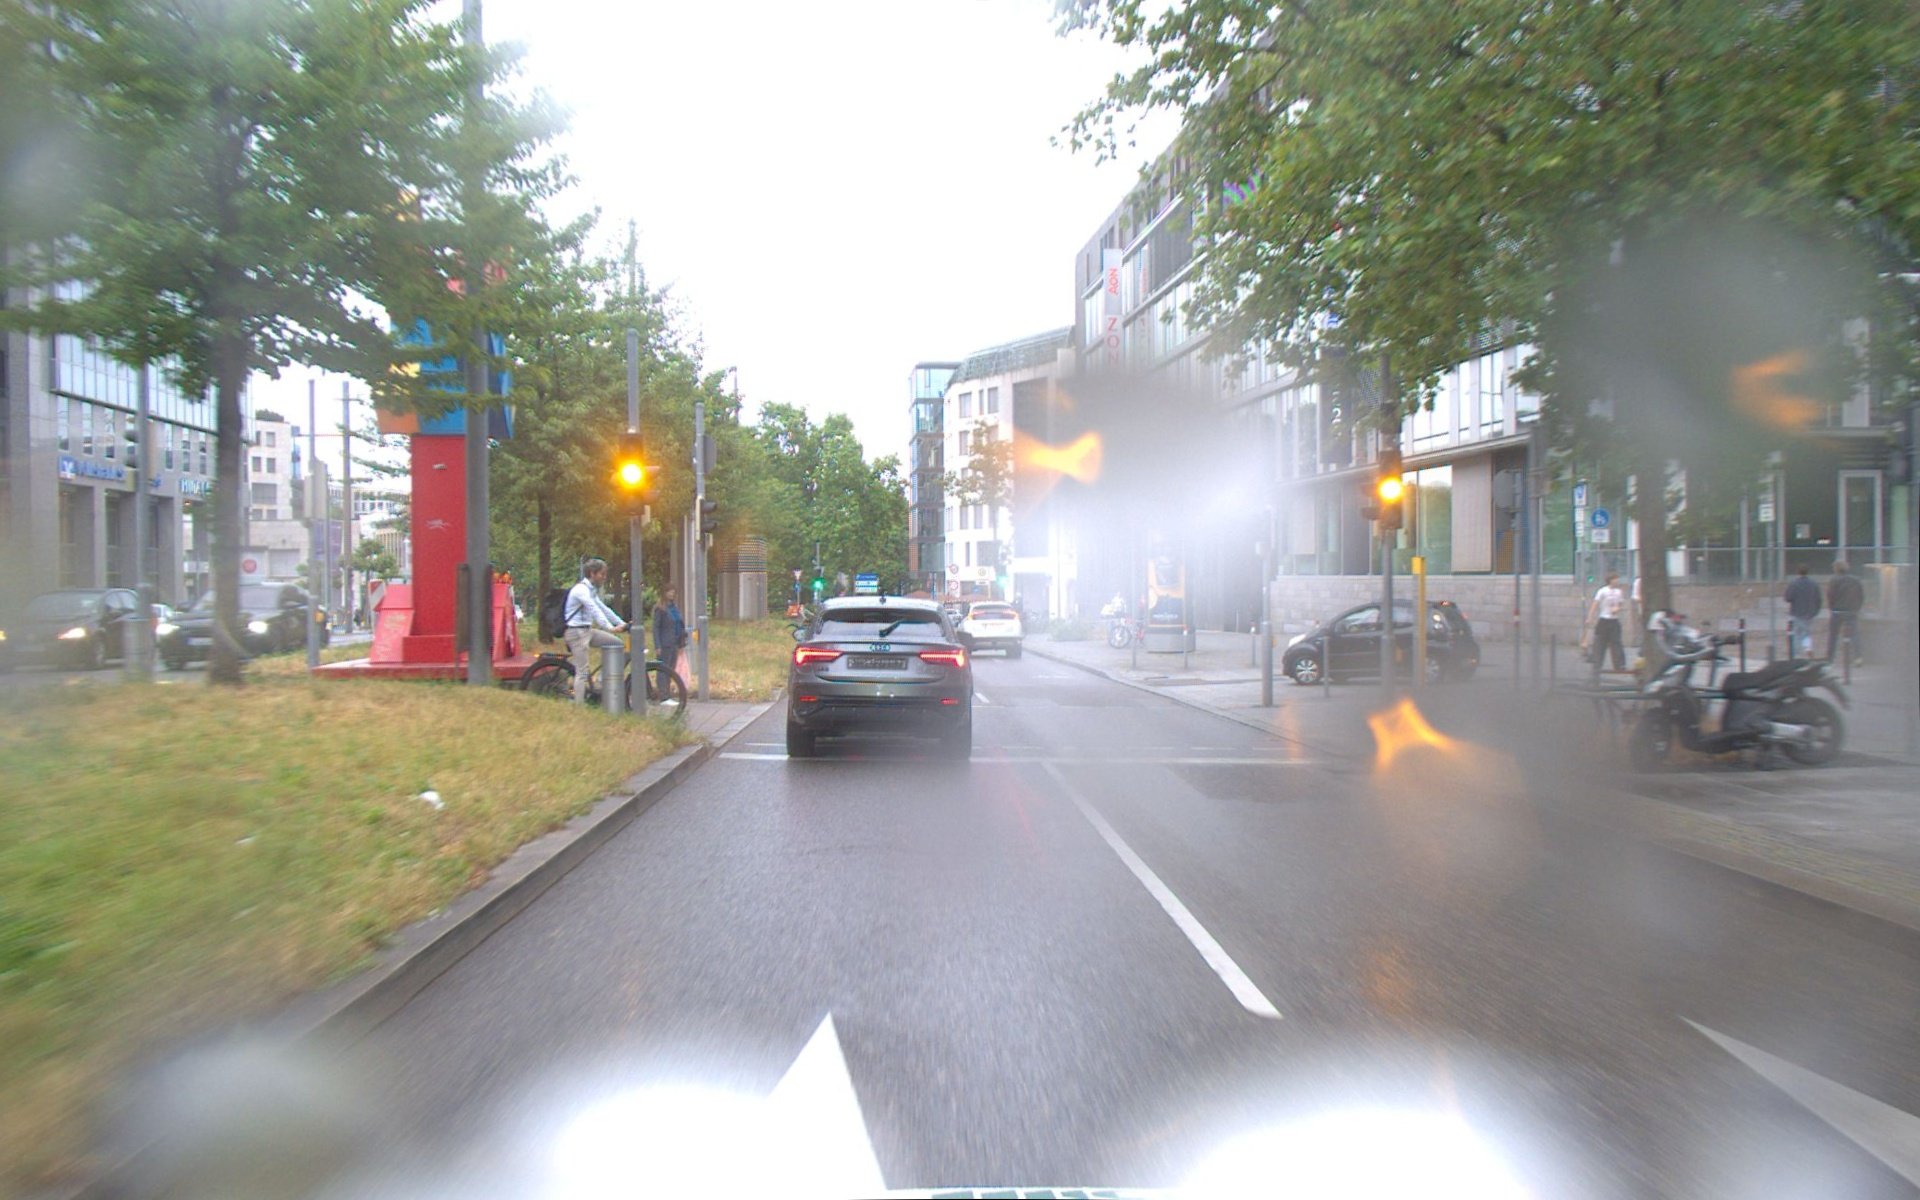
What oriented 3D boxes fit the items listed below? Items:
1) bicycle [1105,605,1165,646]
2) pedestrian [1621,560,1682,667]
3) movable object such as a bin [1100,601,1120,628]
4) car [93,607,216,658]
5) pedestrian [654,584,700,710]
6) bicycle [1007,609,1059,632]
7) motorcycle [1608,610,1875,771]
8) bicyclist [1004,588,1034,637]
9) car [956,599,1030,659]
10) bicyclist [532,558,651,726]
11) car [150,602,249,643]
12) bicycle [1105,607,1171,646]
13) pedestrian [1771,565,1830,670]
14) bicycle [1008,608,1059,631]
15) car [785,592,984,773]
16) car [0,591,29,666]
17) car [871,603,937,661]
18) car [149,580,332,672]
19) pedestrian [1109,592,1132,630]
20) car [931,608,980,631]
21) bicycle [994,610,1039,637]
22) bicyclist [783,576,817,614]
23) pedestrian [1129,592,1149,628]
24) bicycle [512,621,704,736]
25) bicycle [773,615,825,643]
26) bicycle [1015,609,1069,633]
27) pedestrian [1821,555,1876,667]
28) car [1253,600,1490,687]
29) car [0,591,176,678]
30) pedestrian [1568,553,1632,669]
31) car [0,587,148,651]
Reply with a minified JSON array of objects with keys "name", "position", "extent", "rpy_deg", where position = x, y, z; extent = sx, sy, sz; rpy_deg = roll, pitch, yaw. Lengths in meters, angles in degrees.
[{"name":"bicycle","position":[5.575,0.808,52.741],"extent":[1.798,1.218,0.660],"rpy_deg":[-2,0,2]},{"name":"pedestrian","position":[12.519,0.241,29.977],"extent":[0.784,1.901,0.899],"rpy_deg":[0,0,6]},{"name":"movable object such as a bin","position":[7.590,0.722,83.723],"extent":[0.717,1.286,1.443],"rpy_deg":[-3,0,-4]},{"name":"car","position":[-24.695,0.965,50.878],"extent":[1.741,1.426,4.680],"rpy_deg":[-1,0,-4]},{"name":"pedestrian","position":[-3.926,0.641,22.950],"extent":[0.517,1.715,0.721],"rpy_deg":[0,0,-1]},{"name":"bicycle","position":[3.590,1.008,81.251],"extent":[2.487,1.106,0.677],"rpy_deg":[1,-1,-6]},{"name":"motorcycle","position":[6.902,0.786,14.685],"extent":[2.039,1.381,0.678],"rpy_deg":[0,0,5]},{"name":"bicyclist","position":[2.588,0.539,72.666],"extent":[0.750,2.119,1.078],"rpy_deg":[-2,-1,43]},{"name":"car","position":[0.979,0.861,50.611],"extent":[2.134,1.730,3.999],"rpy_deg":[-1,0,-1]},{"name":"bicyclist","position":[-4.089,0.464,18.414],"extent":[1.054,1.780,0.812],"rpy_deg":[3,-2,0]},{"name":"car","position":[-26.200,0.743,57.108],"extent":[1.856,1.349,4.468],"rpy_deg":[0,0,-8]},{"name":"bicycle","position":[5.471,0.802,50.885],"extent":[1.942,1.123,0.808],"rpy_deg":[-2,0,2]},{"name":"pedestrian","position":[14.334,0.293,28.209],"extent":[0.761,1.755,0.645],"rpy_deg":[0,0,13]},{"name":"bicycle","position":[3.742,1.001,84.145],"extent":[2.487,1.106,0.676],"rpy_deg":[-1,-1,-6]},{"name":"car","position":[-0.716,0.743,17.192],"extent":[1.810,1.644,4.251],"rpy_deg":[0,0,-1]},{"name":"car","position":[-23.438,0.698,37.816],"extent":[1.825,1.756,4.788],"rpy_deg":[-1,0,-4]},{"name":"car","position":[-1.688,0.929,49.950],"extent":[1.906,1.675,4.243],"rpy_deg":[-1,0,-2]},{"name":"car","position":[-12.978,0.424,30.156],"extent":[1.756,1.492,4.718],"rpy_deg":[-2,0,-7]},{"name":"pedestrian","position":[7.975,0.556,82.336],"extent":[0.883,1.823,1.045],"rpy_deg":[-3,0,-6]},{"name":"car","position":[-0.371,1.605,139.214],"extent":[3.909,1.676,1.998],"rpy_deg":[3,-1,-4]},{"name":"bicycle","position":[2.473,1.025,72.541],"extent":[0.750,1.165,2.119],"rpy_deg":[-2,-1,43]},{"name":"bicyclist","position":[-6.948,-0.221,72.056],"extent":[1.109,1.610,1.015],"rpy_deg":[1,-1,19]},{"name":"pedestrian","position":[8.937,0.500,82.490],"extent":[0.704,1.720,1.098],"rpy_deg":[-3,0,-6]},{"name":"bicycle","position":[-3.898,0.860,18.418],"extent":[1.931,1.159,0.777],"rpy_deg":[2,0,-1]},{"name":"bicycle","position":[-7.013,1.249,72.039],"extent":[2.017,1.133,1.012],"rpy_deg":[1,-1,19]},{"name":"bicycle","position":[3.925,1.015,78.976],"extent":[2.487,1.075,0.677],"rpy_deg":[-1,-1,-6]},{"name":"pedestrian","position":[14.876,0.183,27.696],"extent":[0.665,1.855,0.652],"rpy_deg":[0,0,13]},{"name":"car","position":[7.255,0.733,29.310],"extent":[3.759,1.441,1.628],"rpy_deg":[-1,0,37]},{"name":"car","position":[-16.162,0.592,30.487],"extent":[1.755,1.439,3.996],"rpy_deg":[-2,0,-5]},{"name":"pedestrian","position":[11.601,0.201,30.009],"extent":[0.833,2.074,0.752],"rpy_deg":[0,0,-6]},{"name":"car","position":[-24.232,0.479,45.421],"extent":[1.741,1.650,4.909],"rpy_deg":[0,0,-4]}]
